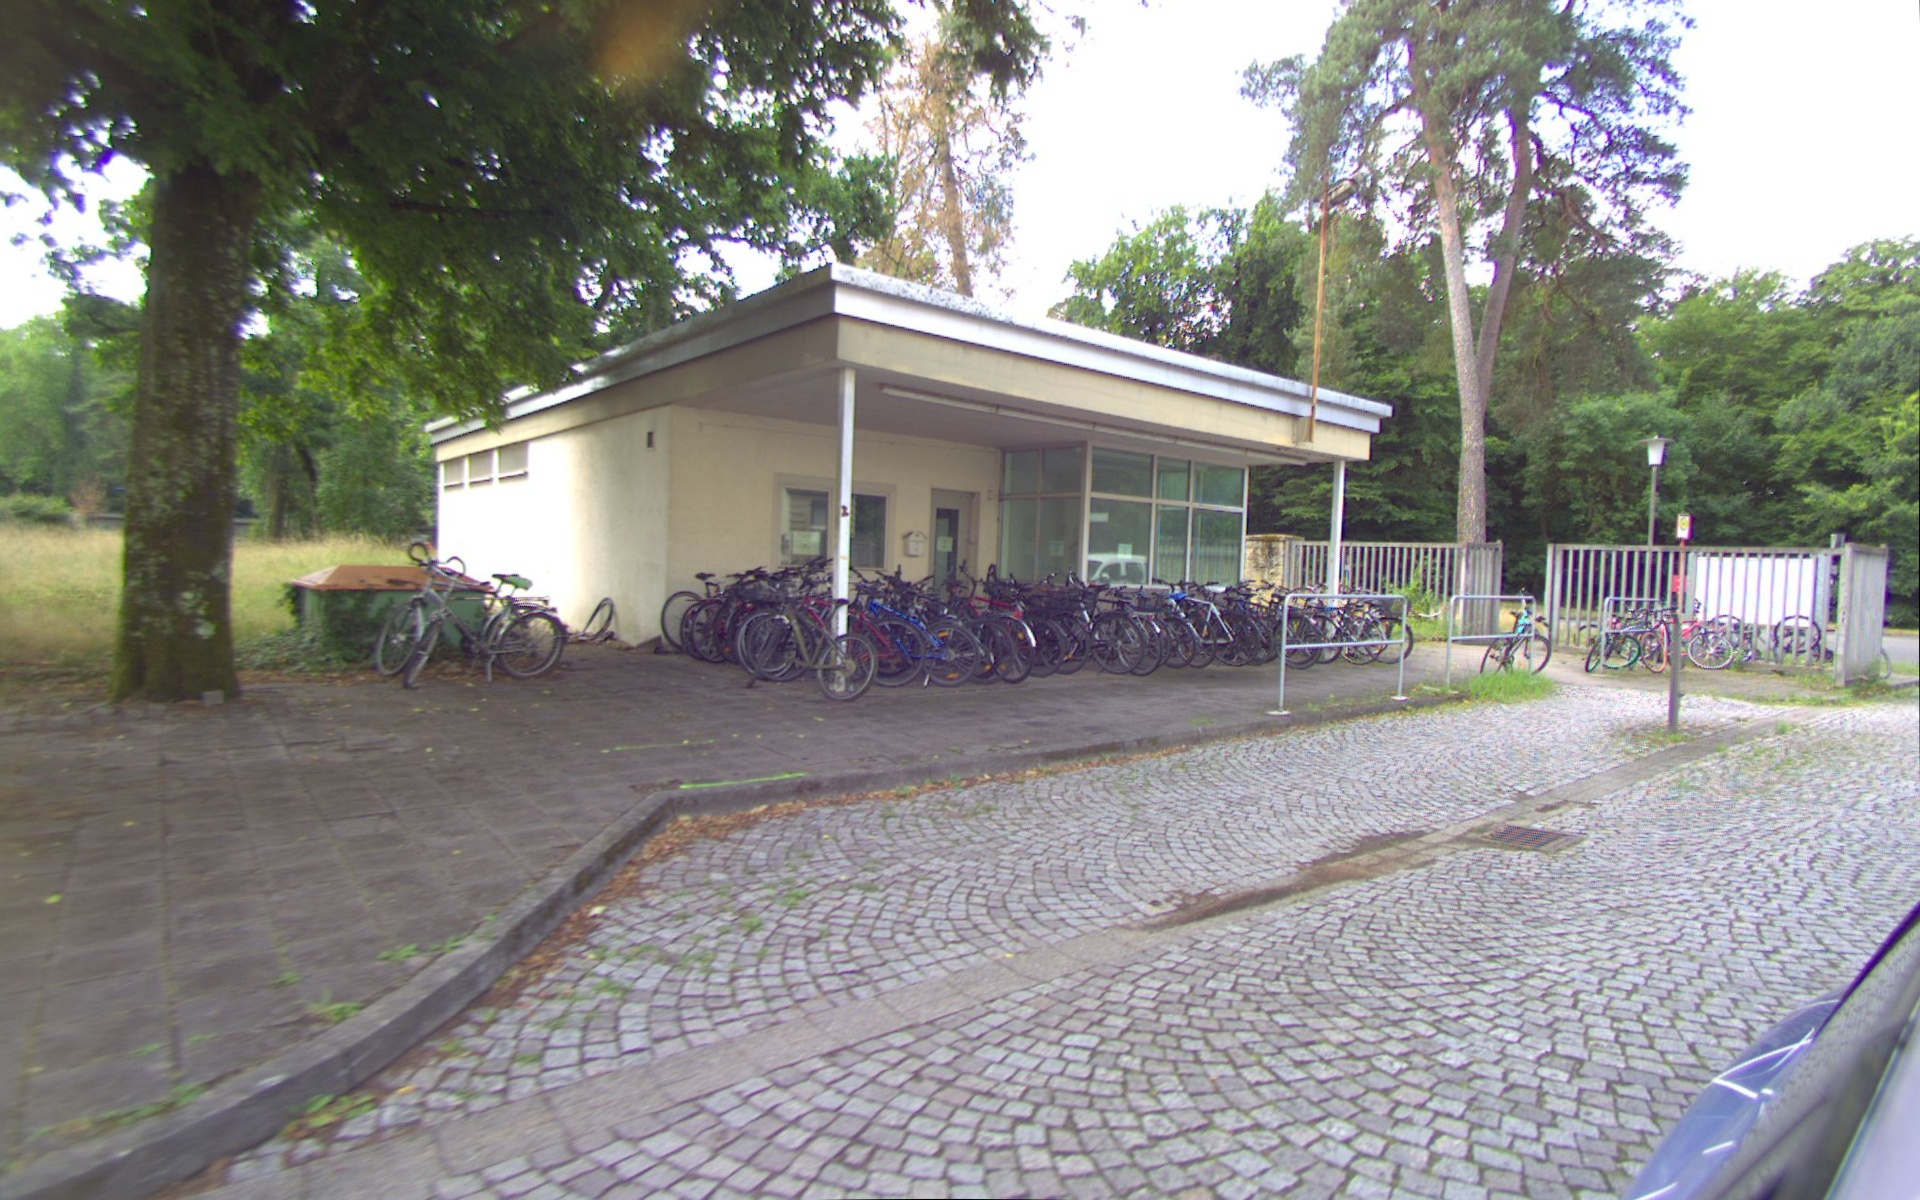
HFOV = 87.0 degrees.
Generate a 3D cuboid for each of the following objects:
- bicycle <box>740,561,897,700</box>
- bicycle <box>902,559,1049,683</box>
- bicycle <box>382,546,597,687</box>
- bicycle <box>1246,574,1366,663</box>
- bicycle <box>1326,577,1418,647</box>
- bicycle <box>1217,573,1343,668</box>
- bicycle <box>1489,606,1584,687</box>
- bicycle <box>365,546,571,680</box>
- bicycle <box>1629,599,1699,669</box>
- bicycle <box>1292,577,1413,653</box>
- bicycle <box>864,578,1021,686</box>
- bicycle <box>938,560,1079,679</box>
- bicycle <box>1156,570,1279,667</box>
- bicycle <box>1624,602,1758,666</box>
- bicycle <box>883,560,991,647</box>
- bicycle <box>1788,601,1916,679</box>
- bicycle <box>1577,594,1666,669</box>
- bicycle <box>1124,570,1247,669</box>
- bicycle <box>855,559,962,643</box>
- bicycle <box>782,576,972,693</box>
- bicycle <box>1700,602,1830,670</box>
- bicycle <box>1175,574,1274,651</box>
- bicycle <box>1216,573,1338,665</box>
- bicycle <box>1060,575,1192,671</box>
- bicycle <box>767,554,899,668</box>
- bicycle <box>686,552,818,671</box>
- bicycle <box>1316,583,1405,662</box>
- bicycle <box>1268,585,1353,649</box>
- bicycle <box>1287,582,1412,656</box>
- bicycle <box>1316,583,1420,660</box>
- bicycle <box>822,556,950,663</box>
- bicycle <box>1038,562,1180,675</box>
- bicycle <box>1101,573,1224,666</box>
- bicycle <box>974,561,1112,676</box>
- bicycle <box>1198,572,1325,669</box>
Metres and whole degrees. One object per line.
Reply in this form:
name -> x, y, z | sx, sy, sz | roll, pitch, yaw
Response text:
bicycle -> -1.358, 0.250, 9.488 | 1.673, 1.121, 0.334 | 6, 4, 37
bicycle -> 0.150, 0.199, 11.227 | 1.627, 1.204, 0.467 | 6, 4, 37
bicycle -> -4.153, 0.127, 8.991 | 1.606, 1.130, 0.598 | 0, 4, -41
bicycle -> 5.061, 0.242, 14.881 | 1.613, 1.154, 0.350 | 6, 4, 43
bicycle -> 7.257, 0.200, 17.803 | 1.648, 1.152, 0.650 | 1, 2, -34
bicycle -> 4.386, 0.255, 13.946 | 1.613, 1.154, 0.320 | 6, 4, 43
bicycle -> 7.697, 0.592, 13.491 | 1.626, 0.964, 0.535 | -1, 3, -40
bicycle -> -4.573, 0.103, 9.461 | 1.606, 1.130, 0.598 | 0, 4, -41
bicycle -> 11.595, 0.541, 16.645 | 1.701, 1.070, 0.474 | 0, 3, -40
bicycle -> 6.312, 0.227, 16.331 | 1.710, 1.146, 0.473 | 2, 2, 7
bicycle -> -0.193, 0.311, 10.690 | 1.615, 0.988, 0.320 | 4, 3, 21
bicycle -> 0.535, 0.193, 11.614 | 1.627, 1.204, 0.414 | 6, 4, 38
bicycle -> 3.478, 0.222, 13.779 | 1.613, 1.154, 0.320 | 6, 4, 43
bicycle -> 13.121, 0.587, 18.212 | 0.495, 0.950, 1.865 | 0, 4, -44
bicycle -> -0.286, 0.033, 13.774 | 0.478, 1.089, 1.658 | 5, 4, 38
bicycle -> 16.346, 0.704, 18.579 | 1.650, 1.245, 0.737 | 6, 4, 43
bicycle -> 10.241, 0.465, 15.660 | 1.537, 1.075, 0.692 | 0, 3, -40
bicycle -> 2.953, 0.224, 13.380 | 1.592, 1.154, 0.320 | 6, 4, 43
bicycle -> -0.697, 0.000, 14.173 | 0.478, 1.089, 1.658 | 5, 4, 38
bicycle -> -0.834, 0.308, 10.223 | 1.725, 0.988, 0.754 | 4, 3, 21
bicycle -> 14.335, 0.615, 18.070 | 0.380, 1.046, 1.731 | 1, 3, -38
bicycle -> 4.091, 0.184, 15.579 | 1.800, 1.089, 0.491 | 0, 4, -41
bicycle -> 4.508, 0.243, 14.478 | 1.613, 1.154, 0.350 | 6, 4, 43
bicycle -> 2.080, 0.264, 12.826 | 1.626, 1.062, 0.330 | 5, 4, 36
bicycle -> -1.531, 0.092, 12.000 | 0.598, 1.179, 1.743 | 0, 4, -43
bicycle -> -2.386, 0.092, 11.450 | 0.598, 1.179, 1.743 | 0, 4, -43
bicycle -> 5.846, 0.310, 14.803 | 1.144, 1.076, 0.284 | 3, 2, 30
bicycle -> 5.907, 0.284, 17.047 | 1.328, 1.022, 0.407 | 2, 2, -16
bicycle -> 6.047, 0.282, 15.778 | 1.723, 1.058, 0.453 | 2, 2, 12
bicycle -> 6.111, 0.304, 15.173 | 1.391, 1.058, 0.336 | 3, 2, 24
bicycle -> -0.957, 0.083, 12.726 | 0.598, 1.179, 1.743 | 0, 4, -43
bicycle -> 1.783, 0.195, 12.285 | 1.627, 1.204, 0.492 | 6, 4, 38
bicycle -> 2.616, 0.227, 13.203 | 1.592, 1.062, 0.320 | 6, 4, 43
bicycle -> 0.961, 0.188, 12.043 | 1.627, 1.204, 0.414 | 6, 4, 38
bicycle -> 4.063, 0.255, 13.744 | 1.613, 1.154, 0.320 | 6, 4, 43
